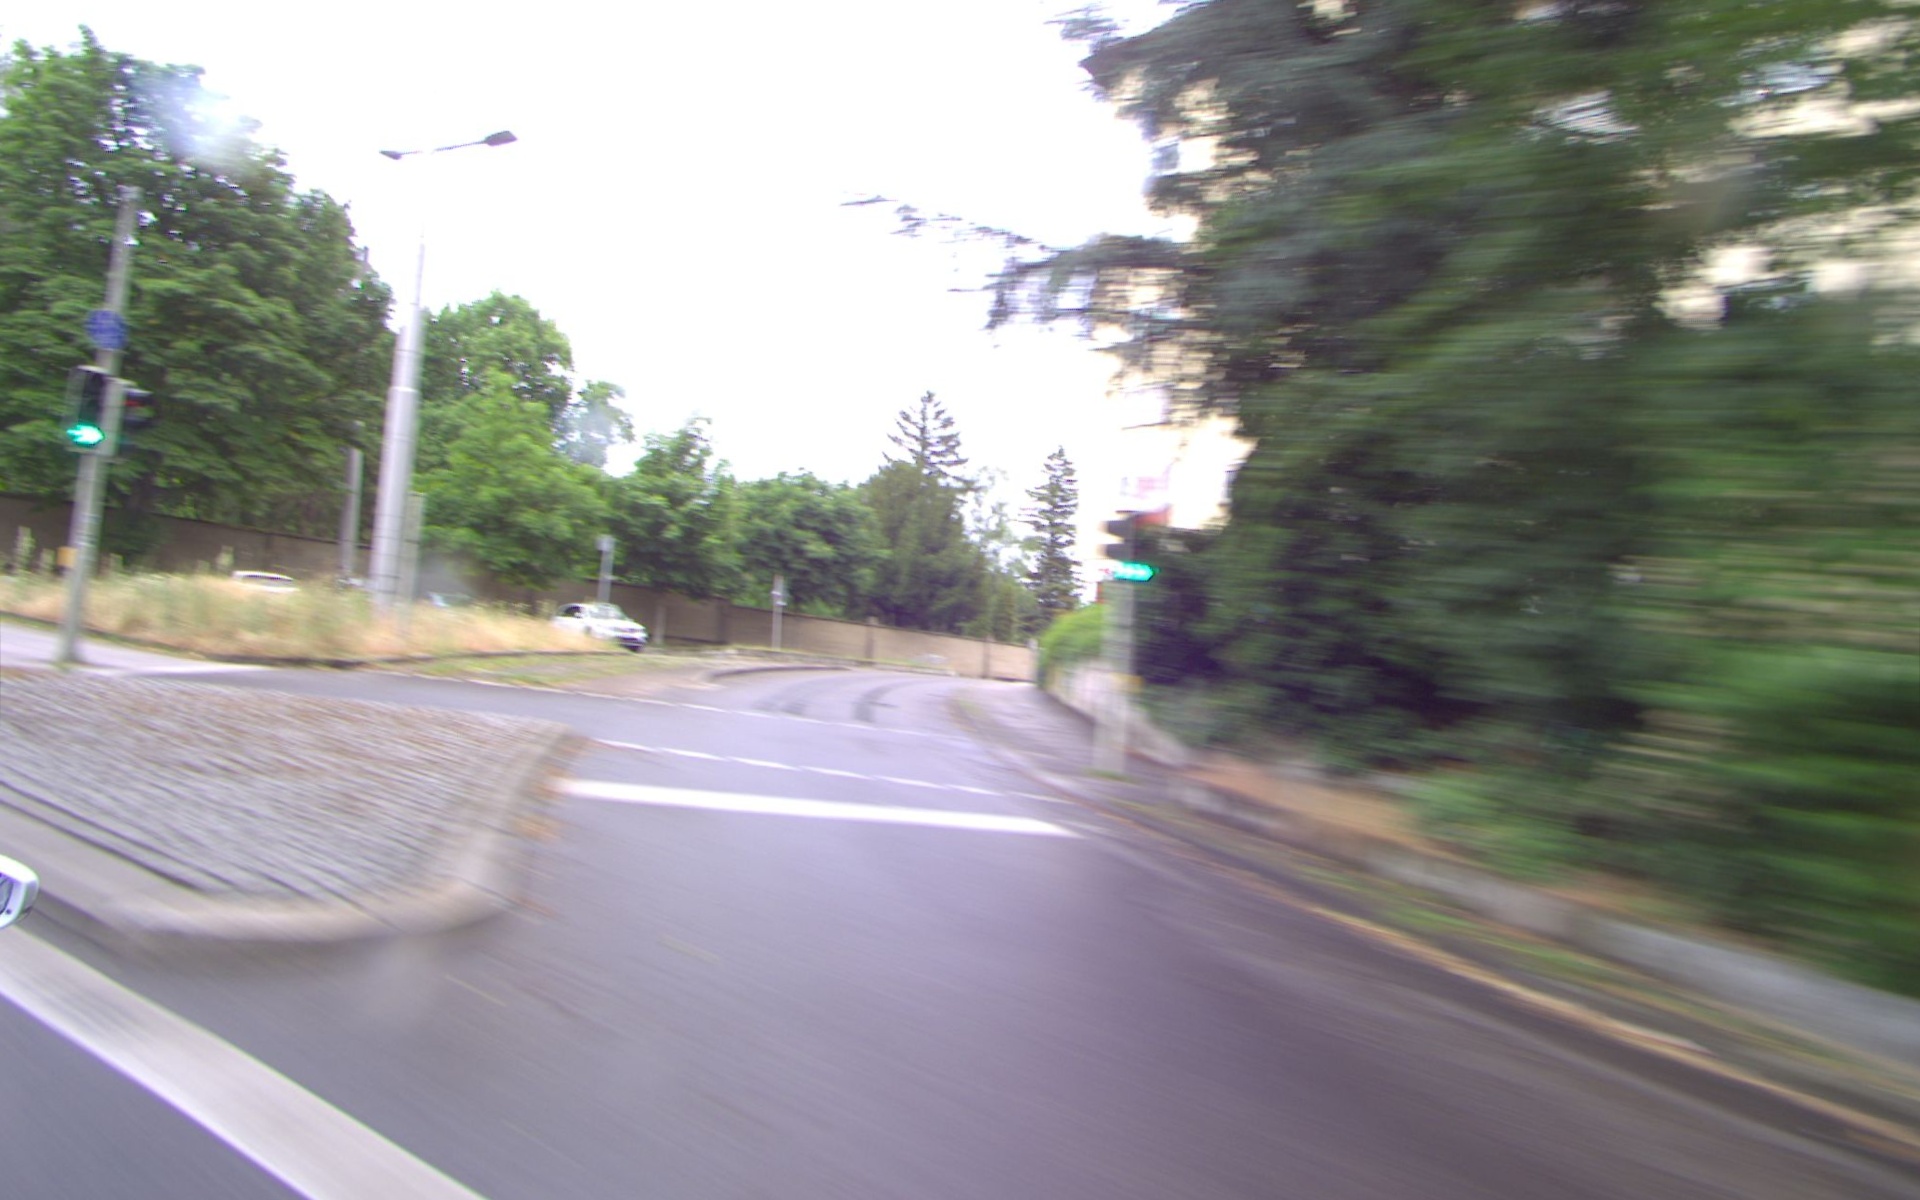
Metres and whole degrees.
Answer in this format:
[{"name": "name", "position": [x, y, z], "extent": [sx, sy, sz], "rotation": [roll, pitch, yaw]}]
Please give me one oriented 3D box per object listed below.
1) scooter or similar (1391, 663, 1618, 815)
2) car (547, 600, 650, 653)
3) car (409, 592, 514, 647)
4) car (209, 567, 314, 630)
[{"name": "scooter or similar", "position": [5.533, 1.373, 10.285], "extent": [1.889, 1.232, 0.600], "rotation": [6, -1, 36]}, {"name": "car", "position": [-12.394, 0.920, 34.365], "extent": [1.777, 1.573, 4.175], "rotation": [7, -5, -42]}, {"name": "car", "position": [-15.276, 0.588, 30.751], "extent": [1.778, 1.406, 3.957], "rotation": [8, -5, -42]}, {"name": "car", "position": [-19.163, -0.021, 27.529], "extent": [1.748, 1.421, 3.956], "rotation": [8, -5, -42]}]
